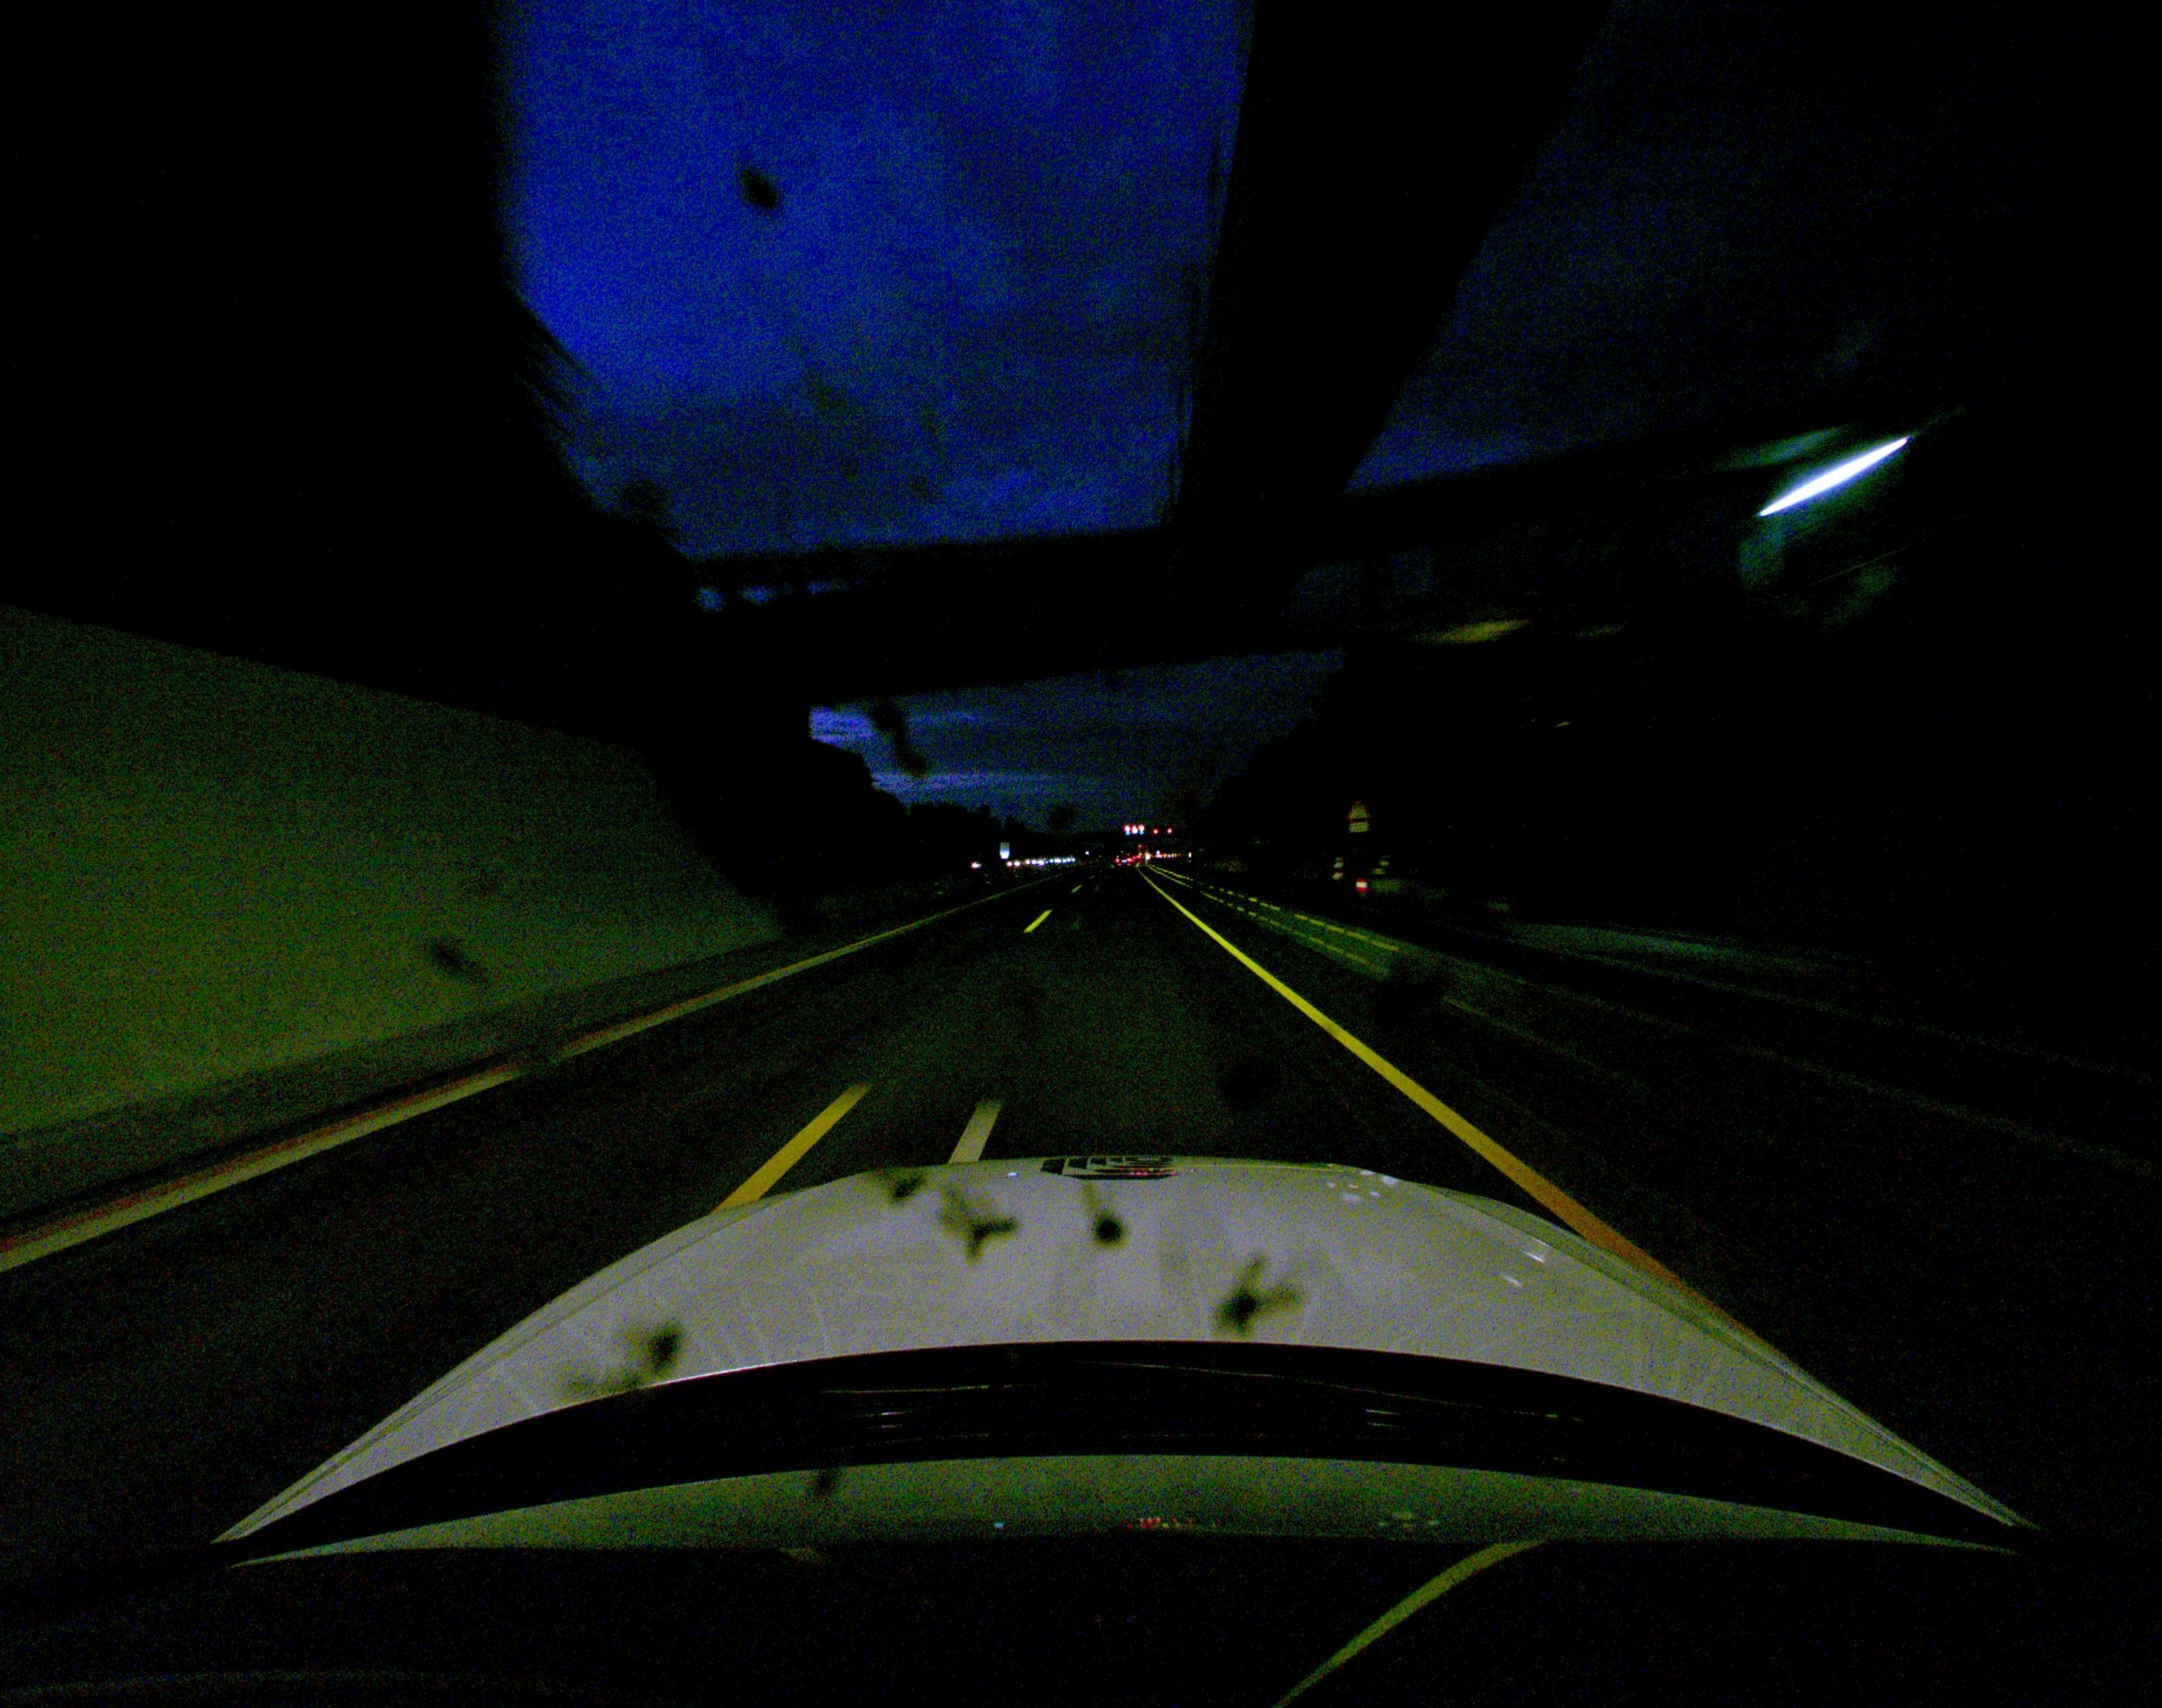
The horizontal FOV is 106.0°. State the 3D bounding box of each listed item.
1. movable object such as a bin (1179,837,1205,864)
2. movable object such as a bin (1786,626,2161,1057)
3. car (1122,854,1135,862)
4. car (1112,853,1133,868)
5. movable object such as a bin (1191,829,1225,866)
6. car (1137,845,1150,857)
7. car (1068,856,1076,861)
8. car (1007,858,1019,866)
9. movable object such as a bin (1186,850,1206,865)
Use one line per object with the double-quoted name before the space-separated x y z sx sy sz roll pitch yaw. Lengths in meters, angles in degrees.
"movable object such as a bin" 13.840 -0.423 101.969 2.610 3.108 5.811 -2 -1 3
"movable object such as a bin" 8.558 -0.095 4.655 2.959 2.827 7.198 0 0 2
"car" 8.788 0.787 149.348 1.960 1.437 4.010 0 0 9
"car" 4.524 0.682 88.162 2.256 1.621 4.003 0 0 3
"movable object such as a bin" 12.279 -0.596 79.041 2.553 3.318 5.583 -3 -1 3
"car" 18.479 -0.810 241.215 3.588 3.396 8.025 0 0 5
"car" -2.789 1.376 244.083 1.801 1.485 4.708 0 0 6
"car" -13.496 1.618 161.960 1.664 1.470 4.654 0 0 6
"movable object such as a bin" 13.686 0.413 96.998 1.985 1.601 4.089 -3 -1 4
